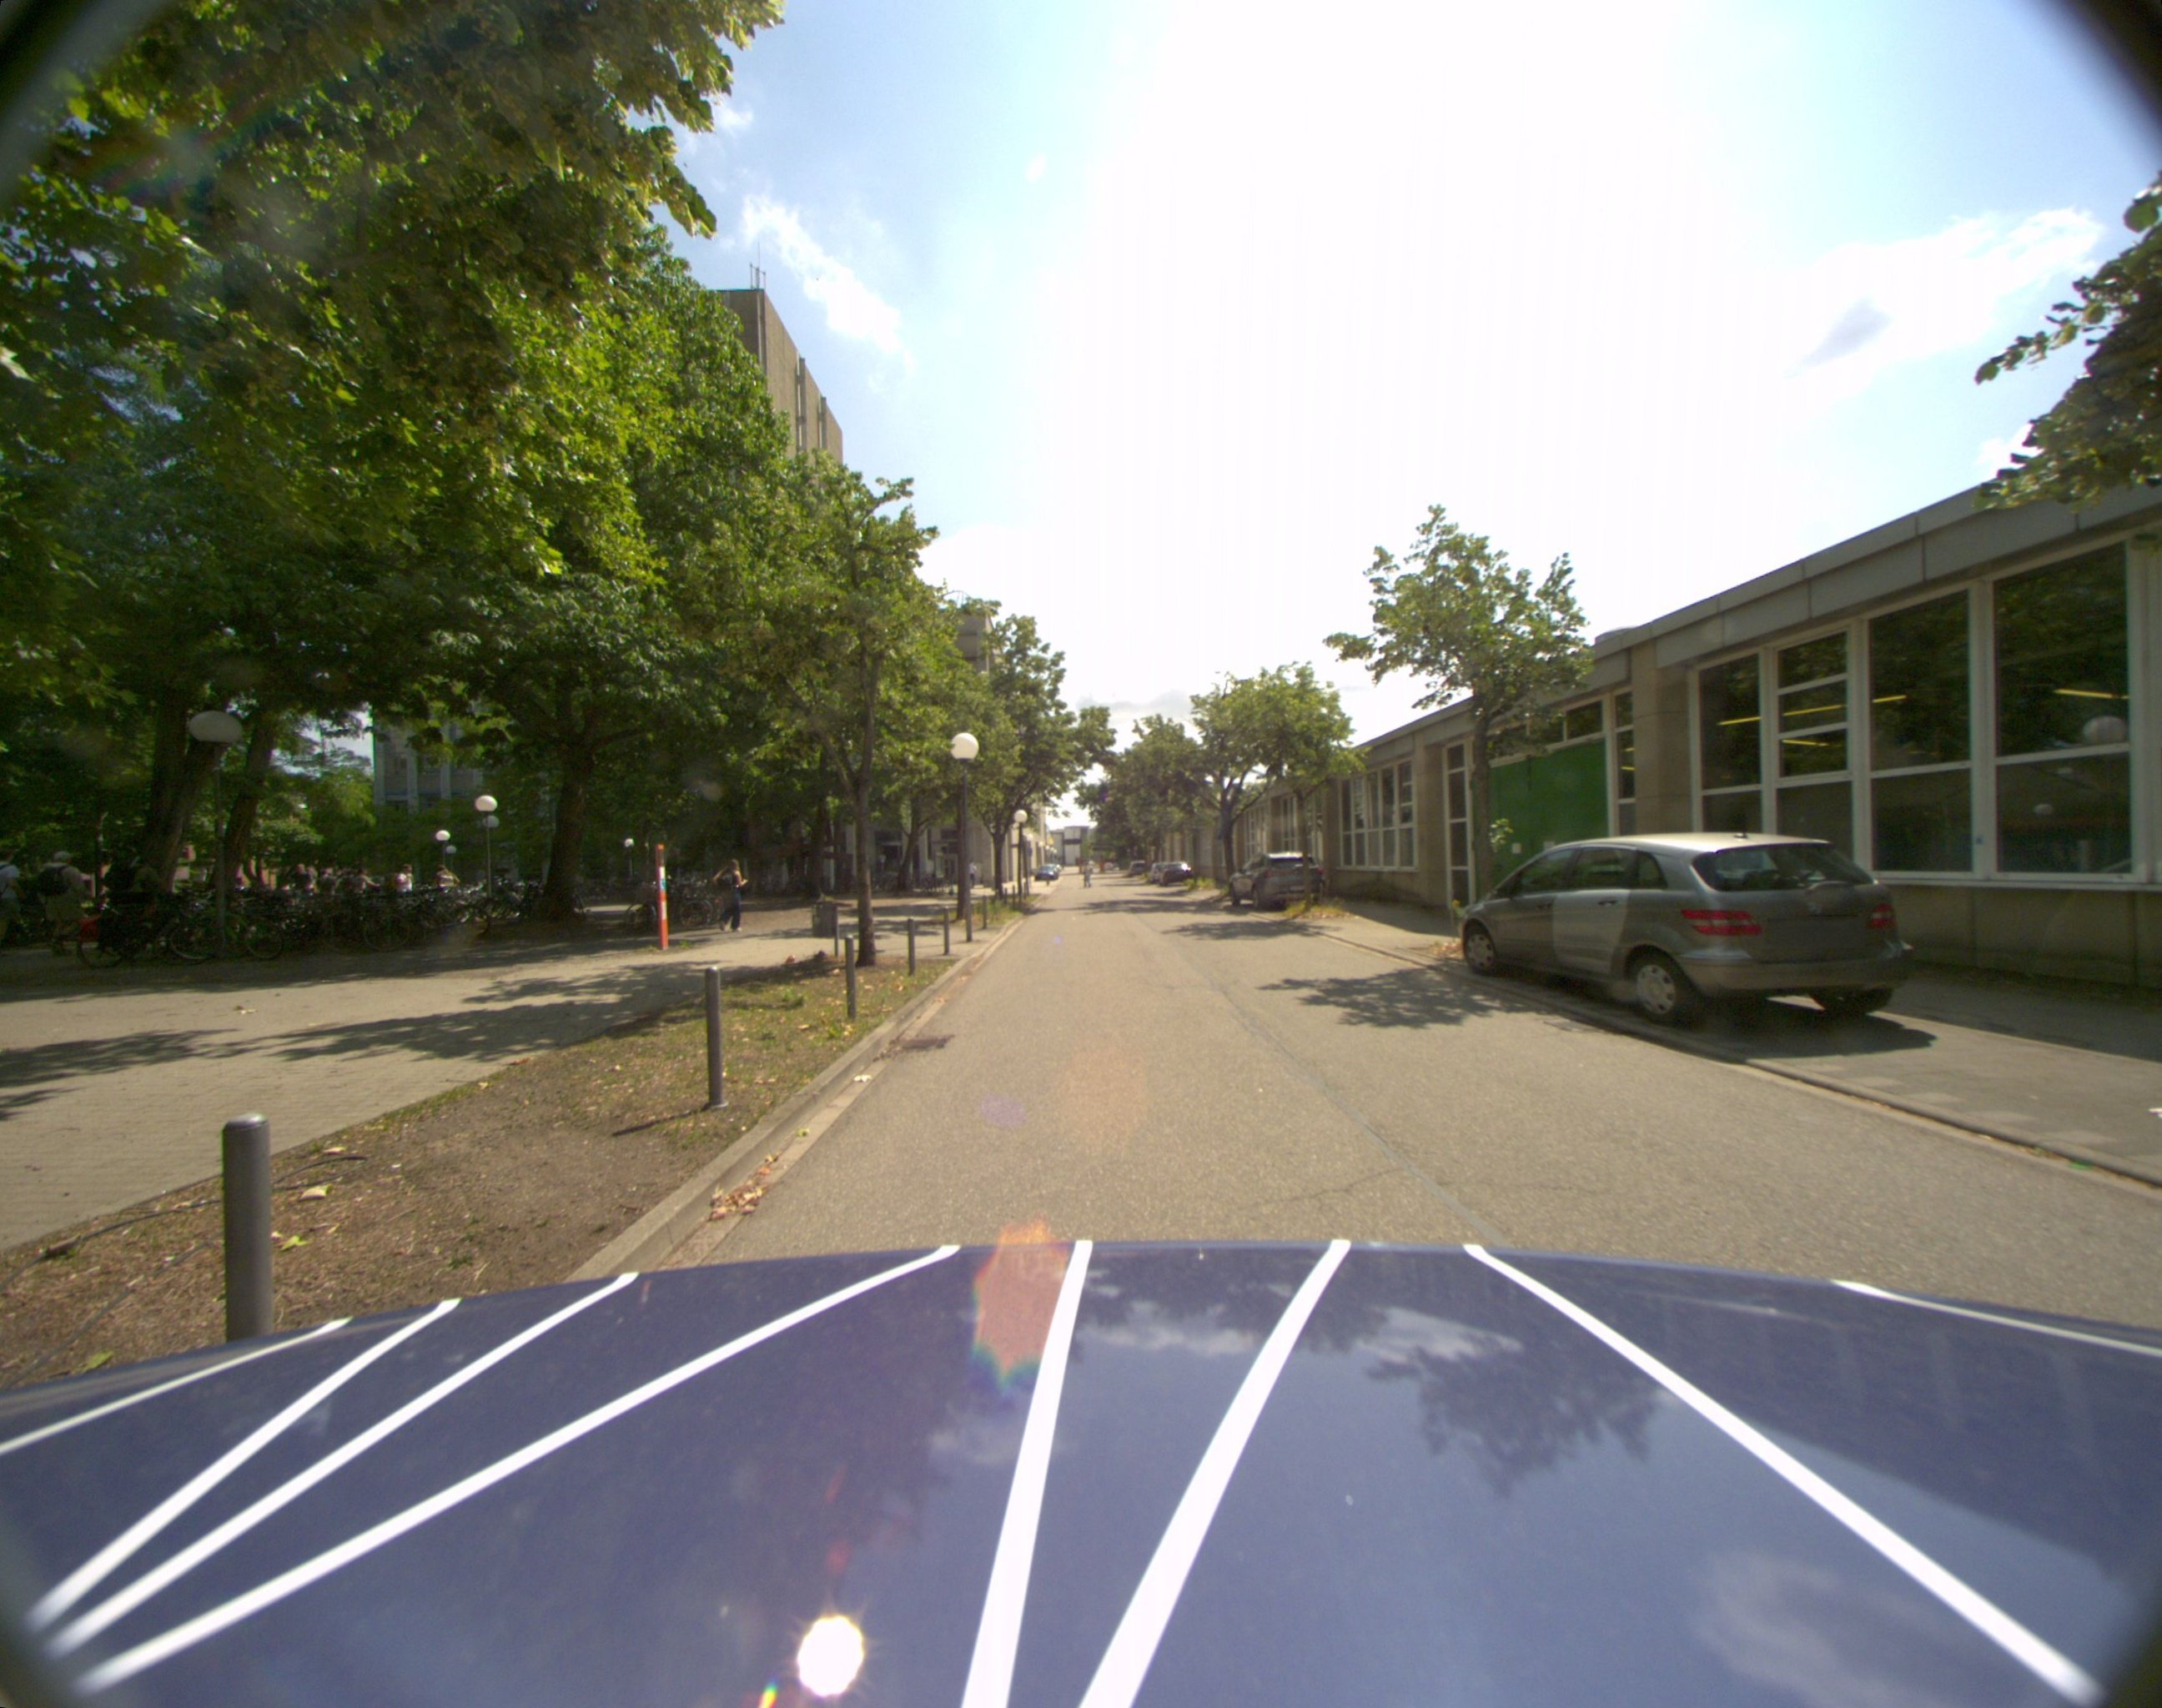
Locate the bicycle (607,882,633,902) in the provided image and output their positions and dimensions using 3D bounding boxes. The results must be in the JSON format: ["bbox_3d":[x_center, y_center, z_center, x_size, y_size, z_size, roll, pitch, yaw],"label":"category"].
[{"bbox_3d":[-26.442,2.156,43.594,0.478,1.077,1.688,-4,-1,-4],"label":"bicycle"}]

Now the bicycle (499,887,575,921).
[{"bbox_3d":[-17.175,1.560,24.021,1.907,0.973,0.477,0,0,-30],"label":"bicycle"}]

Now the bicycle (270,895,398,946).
[{"bbox_3d":[-15.770,1.391,16.094,1.906,0.973,0.421,0,0,-22],"label":"bicycle"}]

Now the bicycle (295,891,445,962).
[{"bbox_3d":[-12.388,1.244,13.307,1.811,1.112,0.611,0,0,-22],"label":"bicycle"}]

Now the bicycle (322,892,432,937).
[{"bbox_3d":[-17.301,1.467,18.733,1.907,0.973,0.535,0,0,-34],"label":"bicycle"}]

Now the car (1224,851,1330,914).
[{"bbox_3d":[5.833,0.795,23.251,1.827,1.623,4.516,-4,0,-2],"label":"car"}]

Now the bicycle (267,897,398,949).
[{"bbox_3d":[-15.443,1.404,15.728,1.906,0.973,0.421,0,0,-22],"label":"bicycle"}]

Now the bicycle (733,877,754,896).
[{"bbox_3d":[-19.339,1.851,43.538,0.501,1.041,1.688,-4,-1,-5],"label":"bicycle"}]

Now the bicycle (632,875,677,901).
[{"bbox_3d":[-20.654,1.635,36.803,1.848,1.163,0.435,-1,-1,-35],"label":"bicycle"}]

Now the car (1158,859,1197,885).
[{"bbox_3d":[5.861,1.125,46.691,1.730,1.426,4.290,-4,-1,-1],"label":"car"}]

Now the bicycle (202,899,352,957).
[{"bbox_3d":[-15.164,1.378,14.392,1.907,0.973,0.420,0,0,-28],"label":"bicycle"}]

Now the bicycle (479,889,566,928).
[{"bbox_3d":[-15.671,1.499,21.366,0.477,0.973,1.908,-1,0,42],"label":"bicycle"}]

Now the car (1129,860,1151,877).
[{"bbox_3d":[5.772,1.408,74.716,1.803,1.440,3.676,-4,0,-1],"label":"car"}]

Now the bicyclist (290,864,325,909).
[{"bbox_3d":[-25.562,1.056,25.120,0.746,1.438,0.801,-1,-1,-43],"label":"bicyclist"}]

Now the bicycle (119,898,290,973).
[{"bbox_3d":[-14.820,1.358,12.894,1.905,1.136,0.478,-1,0,-19],"label":"bicycle"}]

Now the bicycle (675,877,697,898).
[{"bbox_3d":[-22.588,1.894,43.468,0.454,1.123,1.688,-4,-1,-5],"label":"bicycle"}]

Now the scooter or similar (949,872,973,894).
[{"bbox_3d":[-5.982,1.443,37.940,0.496,1.107,1.365,-2,-2,25],"label":"scooter or similar"}]

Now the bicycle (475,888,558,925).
[{"bbox_3d":[-16.483,1.527,22.229,1.908,0.973,0.477,0,0,-40],"label":"bicycle"}]

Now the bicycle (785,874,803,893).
[{"bbox_3d":[-16.496,1.715,43.713,0.568,1.041,1.696,-4,-1,-8],"label":"bicycle"}]

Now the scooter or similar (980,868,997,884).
[{"bbox_3d":[-7.491,1.761,61.664,0.566,1.205,1.506,-3,2,-40],"label":"scooter or similar"}]

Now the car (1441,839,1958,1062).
[{"bbox_3d":[5.605,0.731,7.733,1.762,1.547,4.113,-4,0,-2],"label":"car"}]

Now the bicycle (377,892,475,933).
[{"bbox_3d":[-17.317,1.521,20.131,1.907,0.973,0.477,0,0,-30],"label":"bicycle"}]

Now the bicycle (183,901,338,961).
[{"bbox_3d":[-14.855,1.370,13.811,1.905,0.973,0.478,0,0,-19],"label":"bicycle"}]

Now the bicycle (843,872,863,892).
[{"bbox_3d":[-13.101,1.596,43.749,0.481,1.118,1.698,0,-2,5],"label":"bicycle"}]

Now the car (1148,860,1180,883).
[{"bbox_3d":[5.693,1.198,52.526,1.634,1.440,3.752,-4,0,-1],"label":"car"}]

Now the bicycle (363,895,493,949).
[{"bbox_3d":[-13.268,1.368,15.506,1.906,0.973,0.611,0,0,-22],"label":"bicycle"}]

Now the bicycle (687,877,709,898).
[{"bbox_3d":[-22.019,1.910,43.658,0.454,1.123,1.688,-4,-1,-5],"label":"bicycle"}]

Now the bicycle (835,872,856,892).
[{"bbox_3d":[-13.605,1.601,43.910,0.565,1.118,1.698,0,-2,5],"label":"bicycle"}]

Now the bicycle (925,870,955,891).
[{"bbox_3d":[-7.936,1.501,42.942,0.604,1.134,1.790,0,0,33],"label":"bicycle"}]

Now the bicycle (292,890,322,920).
[{"bbox_3d":[-25.589,1.671,25.127,0.588,0.925,1.747,2,-1,-43],"label":"bicycle"}]

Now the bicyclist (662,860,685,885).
[{"bbox_3d":[-26.140,1.209,48.774,0.958,1.533,0.839,1,-3,2],"label":"bicyclist"}]

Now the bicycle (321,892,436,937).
[{"bbox_3d":[-16.564,1.409,17.967,1.906,0.973,0.611,0,0,-22],"label":"bicycle"}]

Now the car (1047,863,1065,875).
[{"bbox_3d":[-2.775,1.704,85.584,1.843,1.389,3.878,0,-1,0],"label":"car"}]

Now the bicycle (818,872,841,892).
[{"bbox_3d":[-14.444,1.616,43.650,0.627,1.118,1.698,0,-2,5],"label":"bicycle"}]

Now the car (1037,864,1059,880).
[{"bbox_3d":[-3.040,1.655,70.110,1.843,1.389,3.878,0,-1,0],"label":"car"}]

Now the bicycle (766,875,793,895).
[{"bbox_3d":[-17.305,1.768,43.675,0.617,1.041,1.698,-4,-1,8],"label":"bicycle"}]

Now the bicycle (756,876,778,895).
[{"bbox_3d":[-18.042,1.793,43.662,0.617,1.041,1.688,-4,-1,-5],"label":"bicycle"}]

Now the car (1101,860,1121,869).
[{"bbox_3d":[5.742,2.048,144.599,3.674,1.440,1.804,-4,0,-2],"label":"car"}]

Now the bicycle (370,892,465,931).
[{"bbox_3d":[-18.120,1.562,20.794,1.906,0.973,0.441,0,0,-24],"label":"bicycle"}]

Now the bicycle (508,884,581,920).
[{"bbox_3d":[-17.365,1.535,24.610,1.907,1.076,0.477,0,0,-36],"label":"bicycle"}]

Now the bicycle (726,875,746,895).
[{"bbox_3d":[-19.945,1.791,43.981,0.454,1.123,1.688,-4,-1,-5],"label":"bicycle"}]

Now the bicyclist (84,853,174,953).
[{"bbox_3d":[-17.235,0.859,13.781,0.532,1.719,1.077,0,-1,-20],"label":"bicyclist"}]

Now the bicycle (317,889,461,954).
[{"bbox_3d":[-12.976,1.243,14.318,1.906,1.112,0.611,0,0,-22],"label":"bicycle"}]

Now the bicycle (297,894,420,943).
[{"bbox_3d":[-15.908,1.395,16.772,1.906,0.973,0.478,0,0,-23],"label":"bicycle"}]

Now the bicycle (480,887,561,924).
[{"bbox_3d":[-16.737,1.518,22.705,1.908,0.973,0.477,0,0,-41],"label":"bicycle"}]

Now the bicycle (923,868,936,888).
[{"bbox_3d":[-10.330,1.630,51.780,0.531,1.235,1.829,-1,1,-1],"label":"bicycle"}]

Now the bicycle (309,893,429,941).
[{"bbox_3d":[-16.012,1.397,17.135,1.906,0.973,0.478,0,0,-23],"label":"bicycle"}]

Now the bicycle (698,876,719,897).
[{"bbox_3d":[-21.436,1.869,43.711,0.454,1.123,1.688,-4,-1,-5],"label":"bicycle"}]

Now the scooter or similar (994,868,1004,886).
[{"bbox_3d":[-5.806,1.642,53.918,0.564,1.204,1.510,1,0,-1],"label":"scooter or similar"}]

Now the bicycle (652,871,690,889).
[{"bbox_3d":[-26.274,1.685,48.757,1.930,1.036,0.818,-2,3,1],"label":"bicycle"}]

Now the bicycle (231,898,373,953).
[{"bbox_3d":[-15.350,1.389,15.021,1.906,0.973,0.477,0,0,-25],"label":"bicycle"}]

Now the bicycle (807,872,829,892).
[{"bbox_3d":[-15.154,1.634,43.838,0.627,1.143,1.697,0,-2,2],"label":"bicycle"}]
